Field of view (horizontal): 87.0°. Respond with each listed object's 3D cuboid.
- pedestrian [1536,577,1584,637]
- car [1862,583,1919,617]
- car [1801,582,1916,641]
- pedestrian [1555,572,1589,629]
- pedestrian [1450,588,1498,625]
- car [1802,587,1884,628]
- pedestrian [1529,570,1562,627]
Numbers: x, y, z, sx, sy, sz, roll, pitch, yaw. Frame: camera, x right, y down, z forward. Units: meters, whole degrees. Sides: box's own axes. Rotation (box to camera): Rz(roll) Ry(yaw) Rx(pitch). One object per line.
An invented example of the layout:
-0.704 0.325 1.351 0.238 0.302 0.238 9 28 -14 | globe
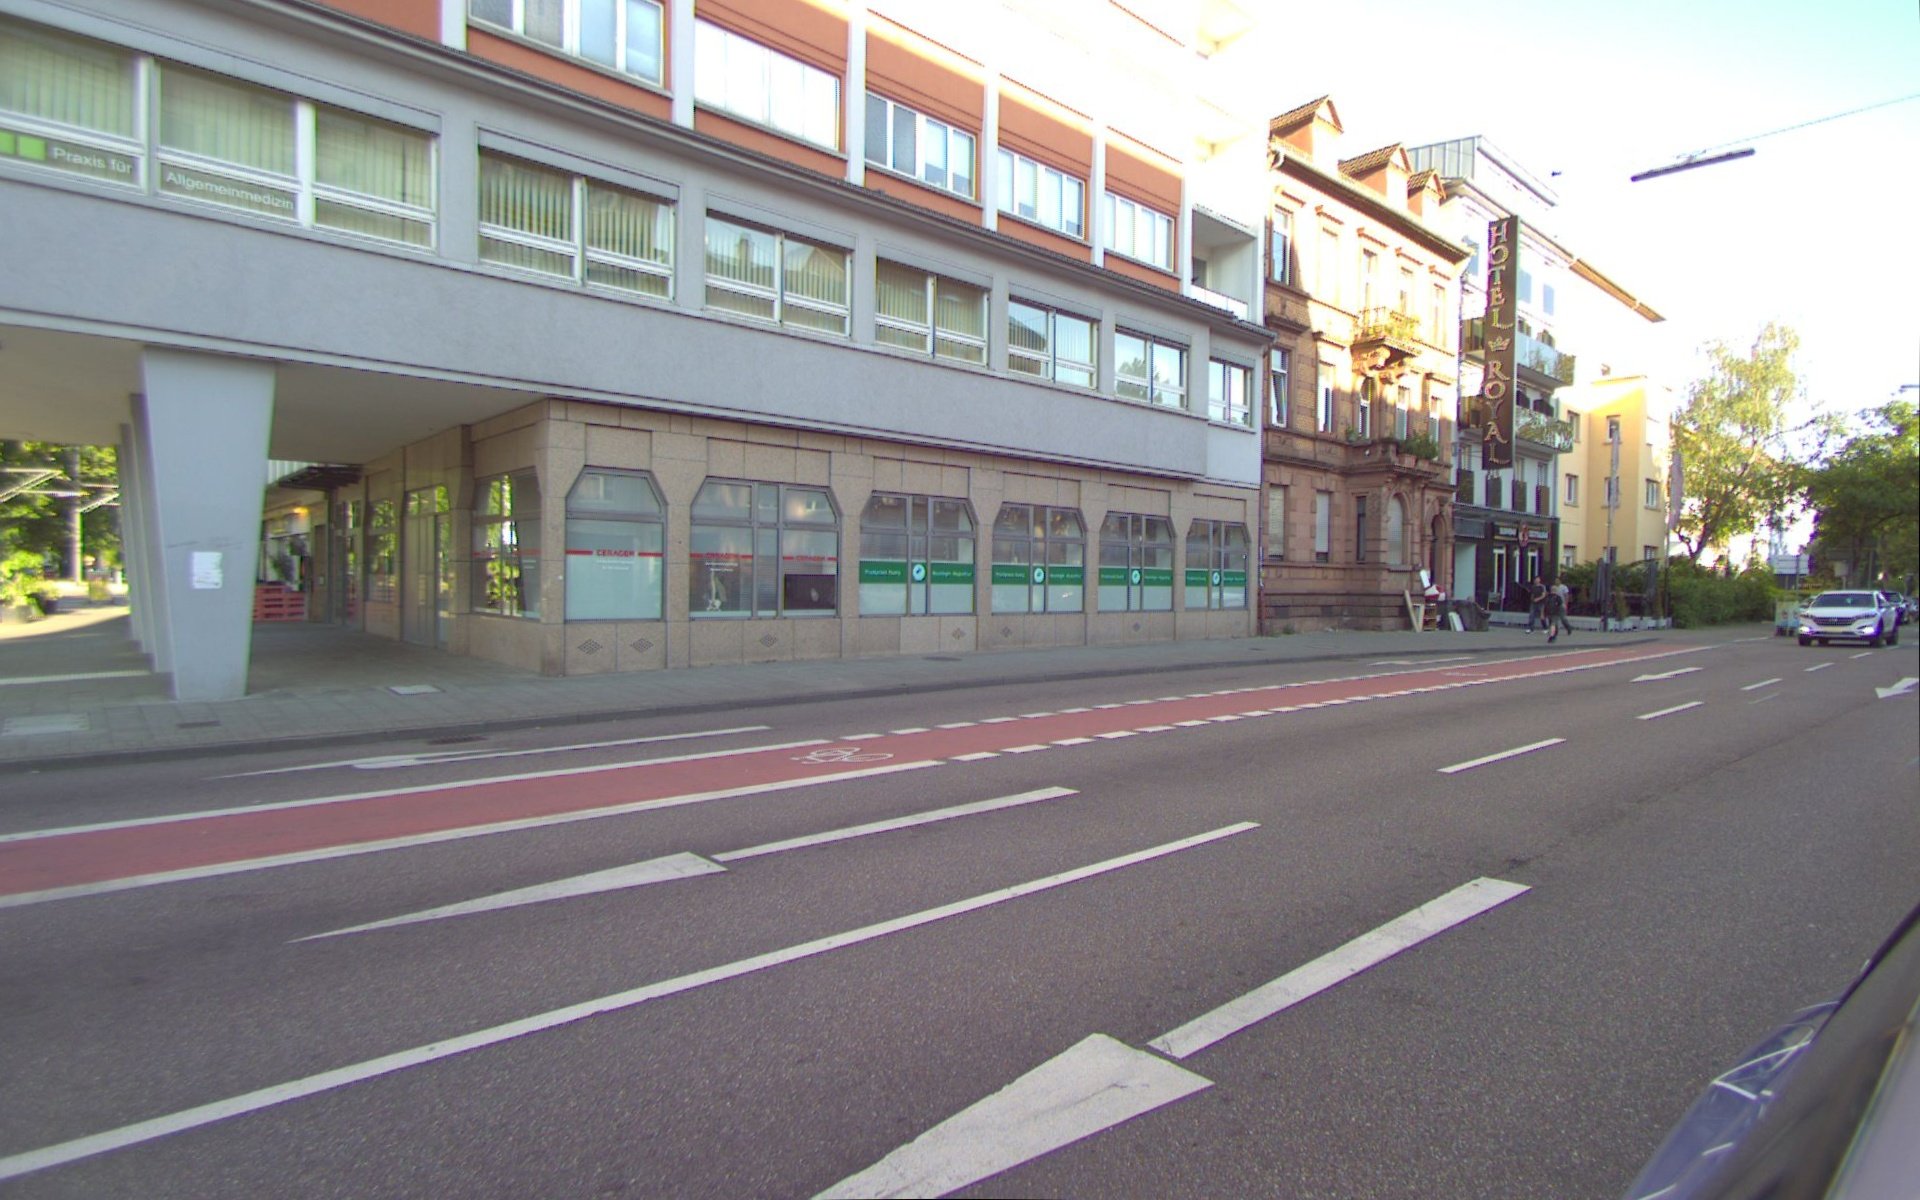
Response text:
16.980 0.176 28.630 0.992 1.621 0.739 0 4 -35 | pedestrian
47.012 -0.027 50.935 4.121 1.645 1.945 0 1 -42 | car
26.749 0.283 30.082 4.193 1.627 1.921 -1 0 -39 | car
19.147 -0.005 31.668 0.666 1.747 0.995 2 1 45 | pedestrian
16.407 0.194 32.296 0.909 1.150 1.098 0 1 -43 | pedestrian
35.433 0.254 40.590 4.003 1.536 1.904 0 1 -41 | car
18.626 -0.058 32.211 0.666 1.747 0.995 2 1 43 | pedestrian
